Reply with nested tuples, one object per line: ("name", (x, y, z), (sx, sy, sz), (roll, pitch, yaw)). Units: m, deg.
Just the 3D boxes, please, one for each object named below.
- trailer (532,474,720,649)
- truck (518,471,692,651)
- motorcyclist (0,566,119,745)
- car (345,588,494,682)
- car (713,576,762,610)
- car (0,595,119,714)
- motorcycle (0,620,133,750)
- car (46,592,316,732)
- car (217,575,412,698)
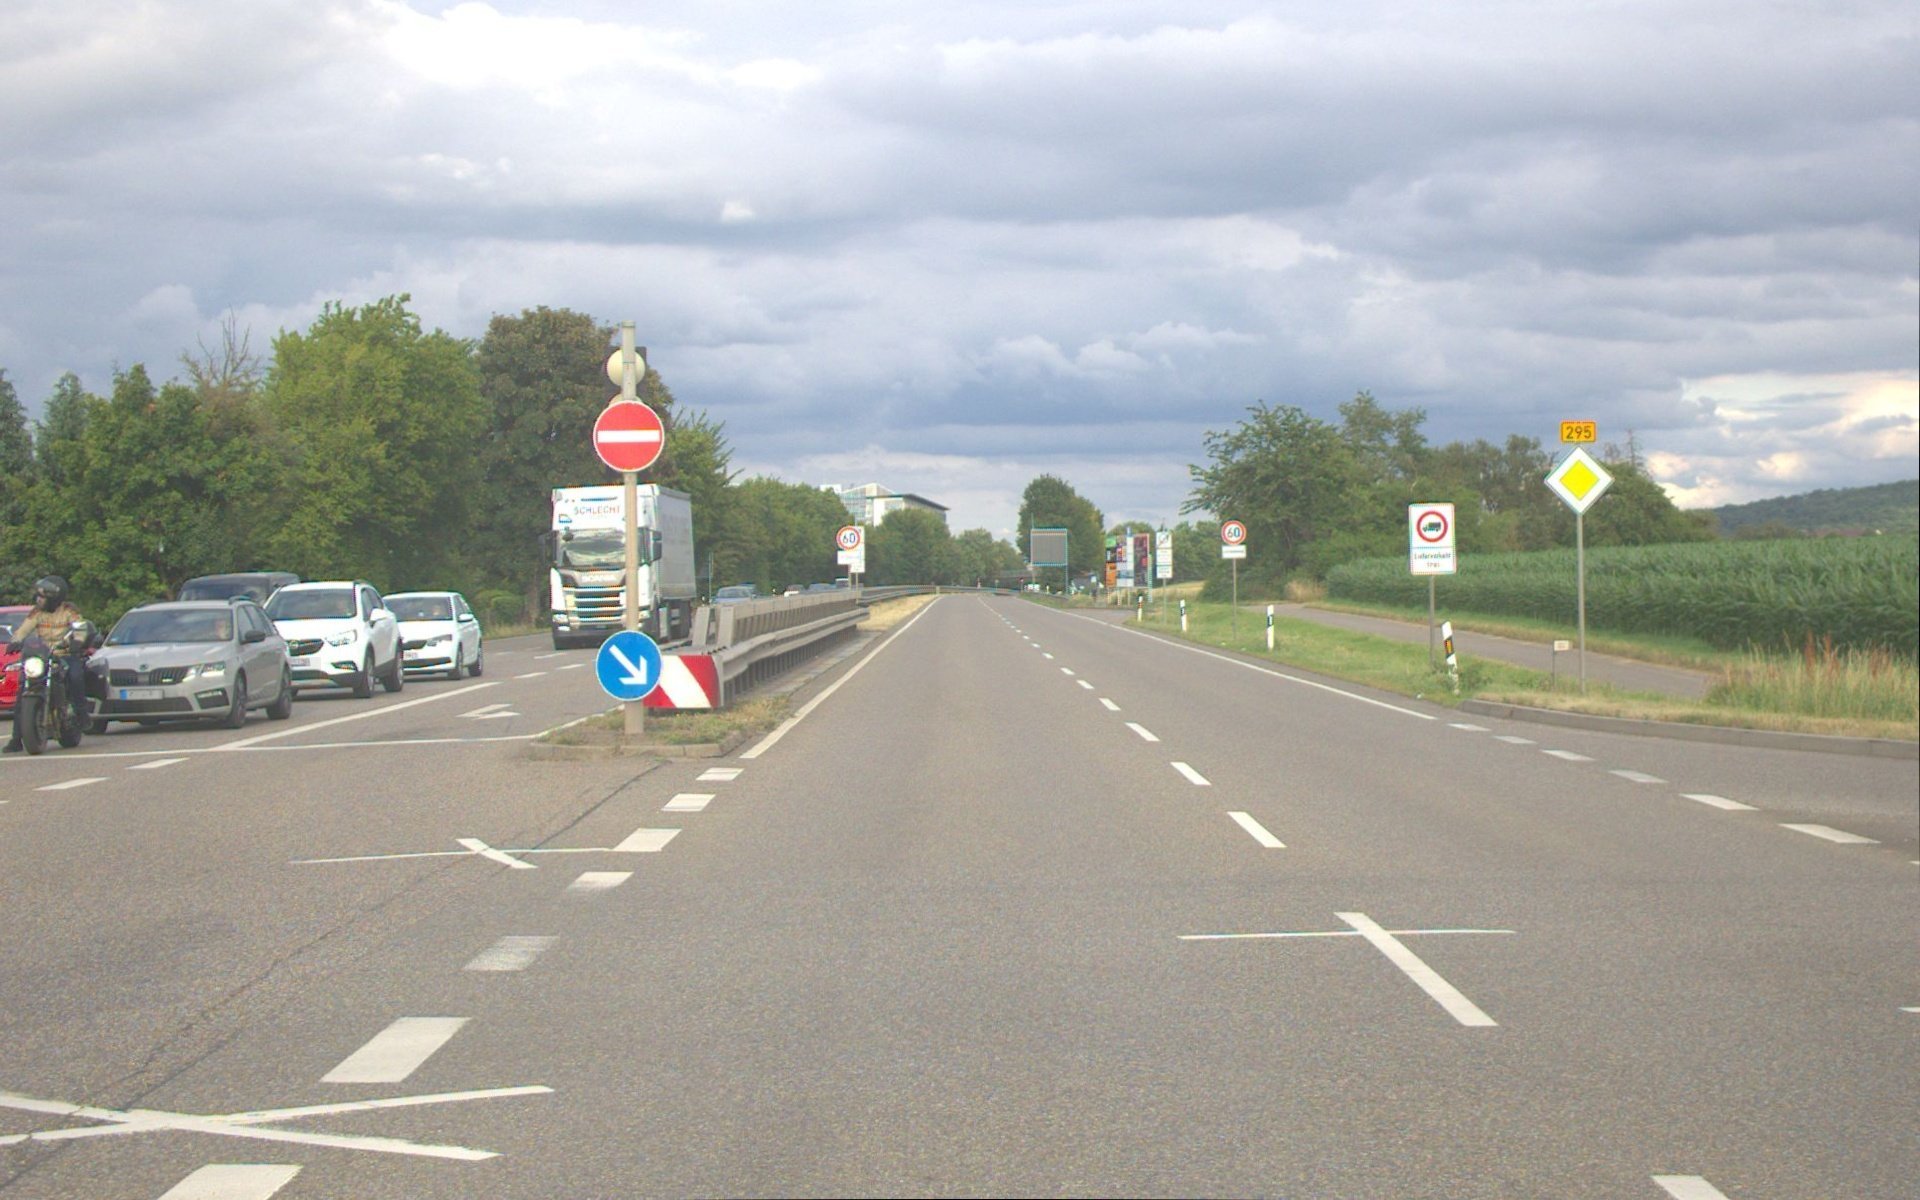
("trailer", (-8.656, -0.986, 91.065), (3.465, 4.136, 13.916), (-2, 0, 0))
("truck", (-8.670, -0.936, 84.714), (3.474, 4.136, 6.050), (-2, 0, 0))
("motorcyclist", (-8.925, 0.539, 33.851), (0.916, 1.703, 1.276), (-2, 0, 0))
("car", (-8.880, 0.549, 56.787), (1.789, 1.439, 4.160), (-1, 0, 0))
("car", (-9.378, -0.292, 145.265), (1.789, 1.381, 4.160), (-1, 0, 0))
("car", (-12.590, 0.704, 45.425), (1.907, 1.460, 4.184), (-1, 0, 0))
("motorcycle", (-8.926, 0.818, 33.853), (0.916, 1.199, 2.478), (-2, 0, 0))
("car", (-8.826, 0.660, 39.405), (1.907, 1.423, 5.152), (-1, 0, 0))
("car", (-9.021, 0.476, 48.376), (1.907, 1.604, 4.405), (-1, 0, 0))
